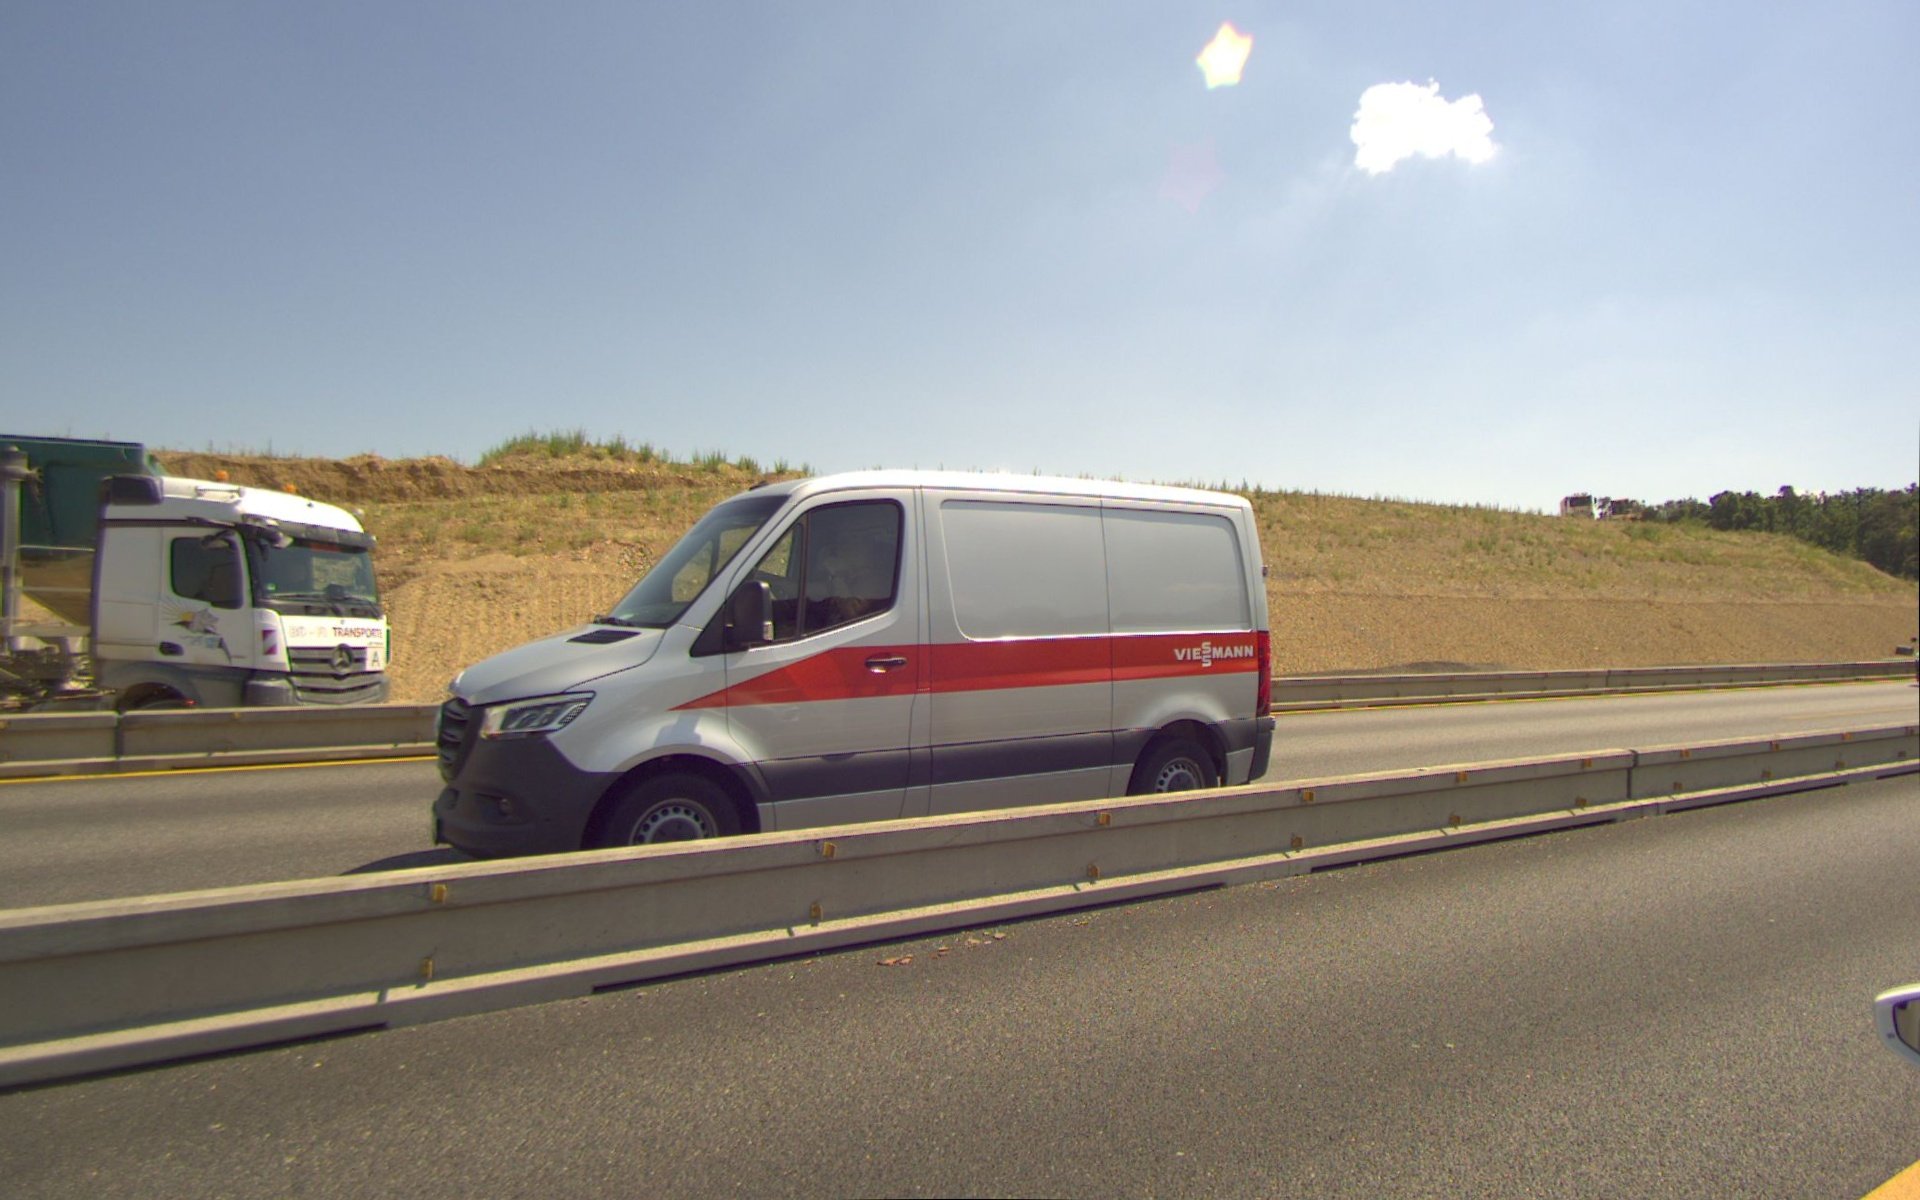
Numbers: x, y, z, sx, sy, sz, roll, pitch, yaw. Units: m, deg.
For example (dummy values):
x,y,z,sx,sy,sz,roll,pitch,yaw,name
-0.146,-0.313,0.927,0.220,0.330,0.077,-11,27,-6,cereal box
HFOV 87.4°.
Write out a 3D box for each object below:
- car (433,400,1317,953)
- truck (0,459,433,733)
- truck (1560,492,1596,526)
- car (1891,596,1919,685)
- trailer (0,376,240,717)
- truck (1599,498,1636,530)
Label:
x,y,z,sx,sy,sz,roll,pitch,yaw,name
-0.328,0.386,6.436,5.282,2.322,1.984,2,0,-31,car
-9.889,-0.081,12.771,4.960,3.003,2.588,2,0,6,truck
68.638,-10.029,111.691,2.317,2.937,8.361,2,0,25,truck
25.799,1.039,25.408,4.807,2.183,1.984,2,-2,-30,car
-13.753,-0.697,15.881,2.766,4.152,8.306,2,0,-29,trailer
75.276,-9.817,115.142,2.259,2.785,8.900,2,0,25,truck
